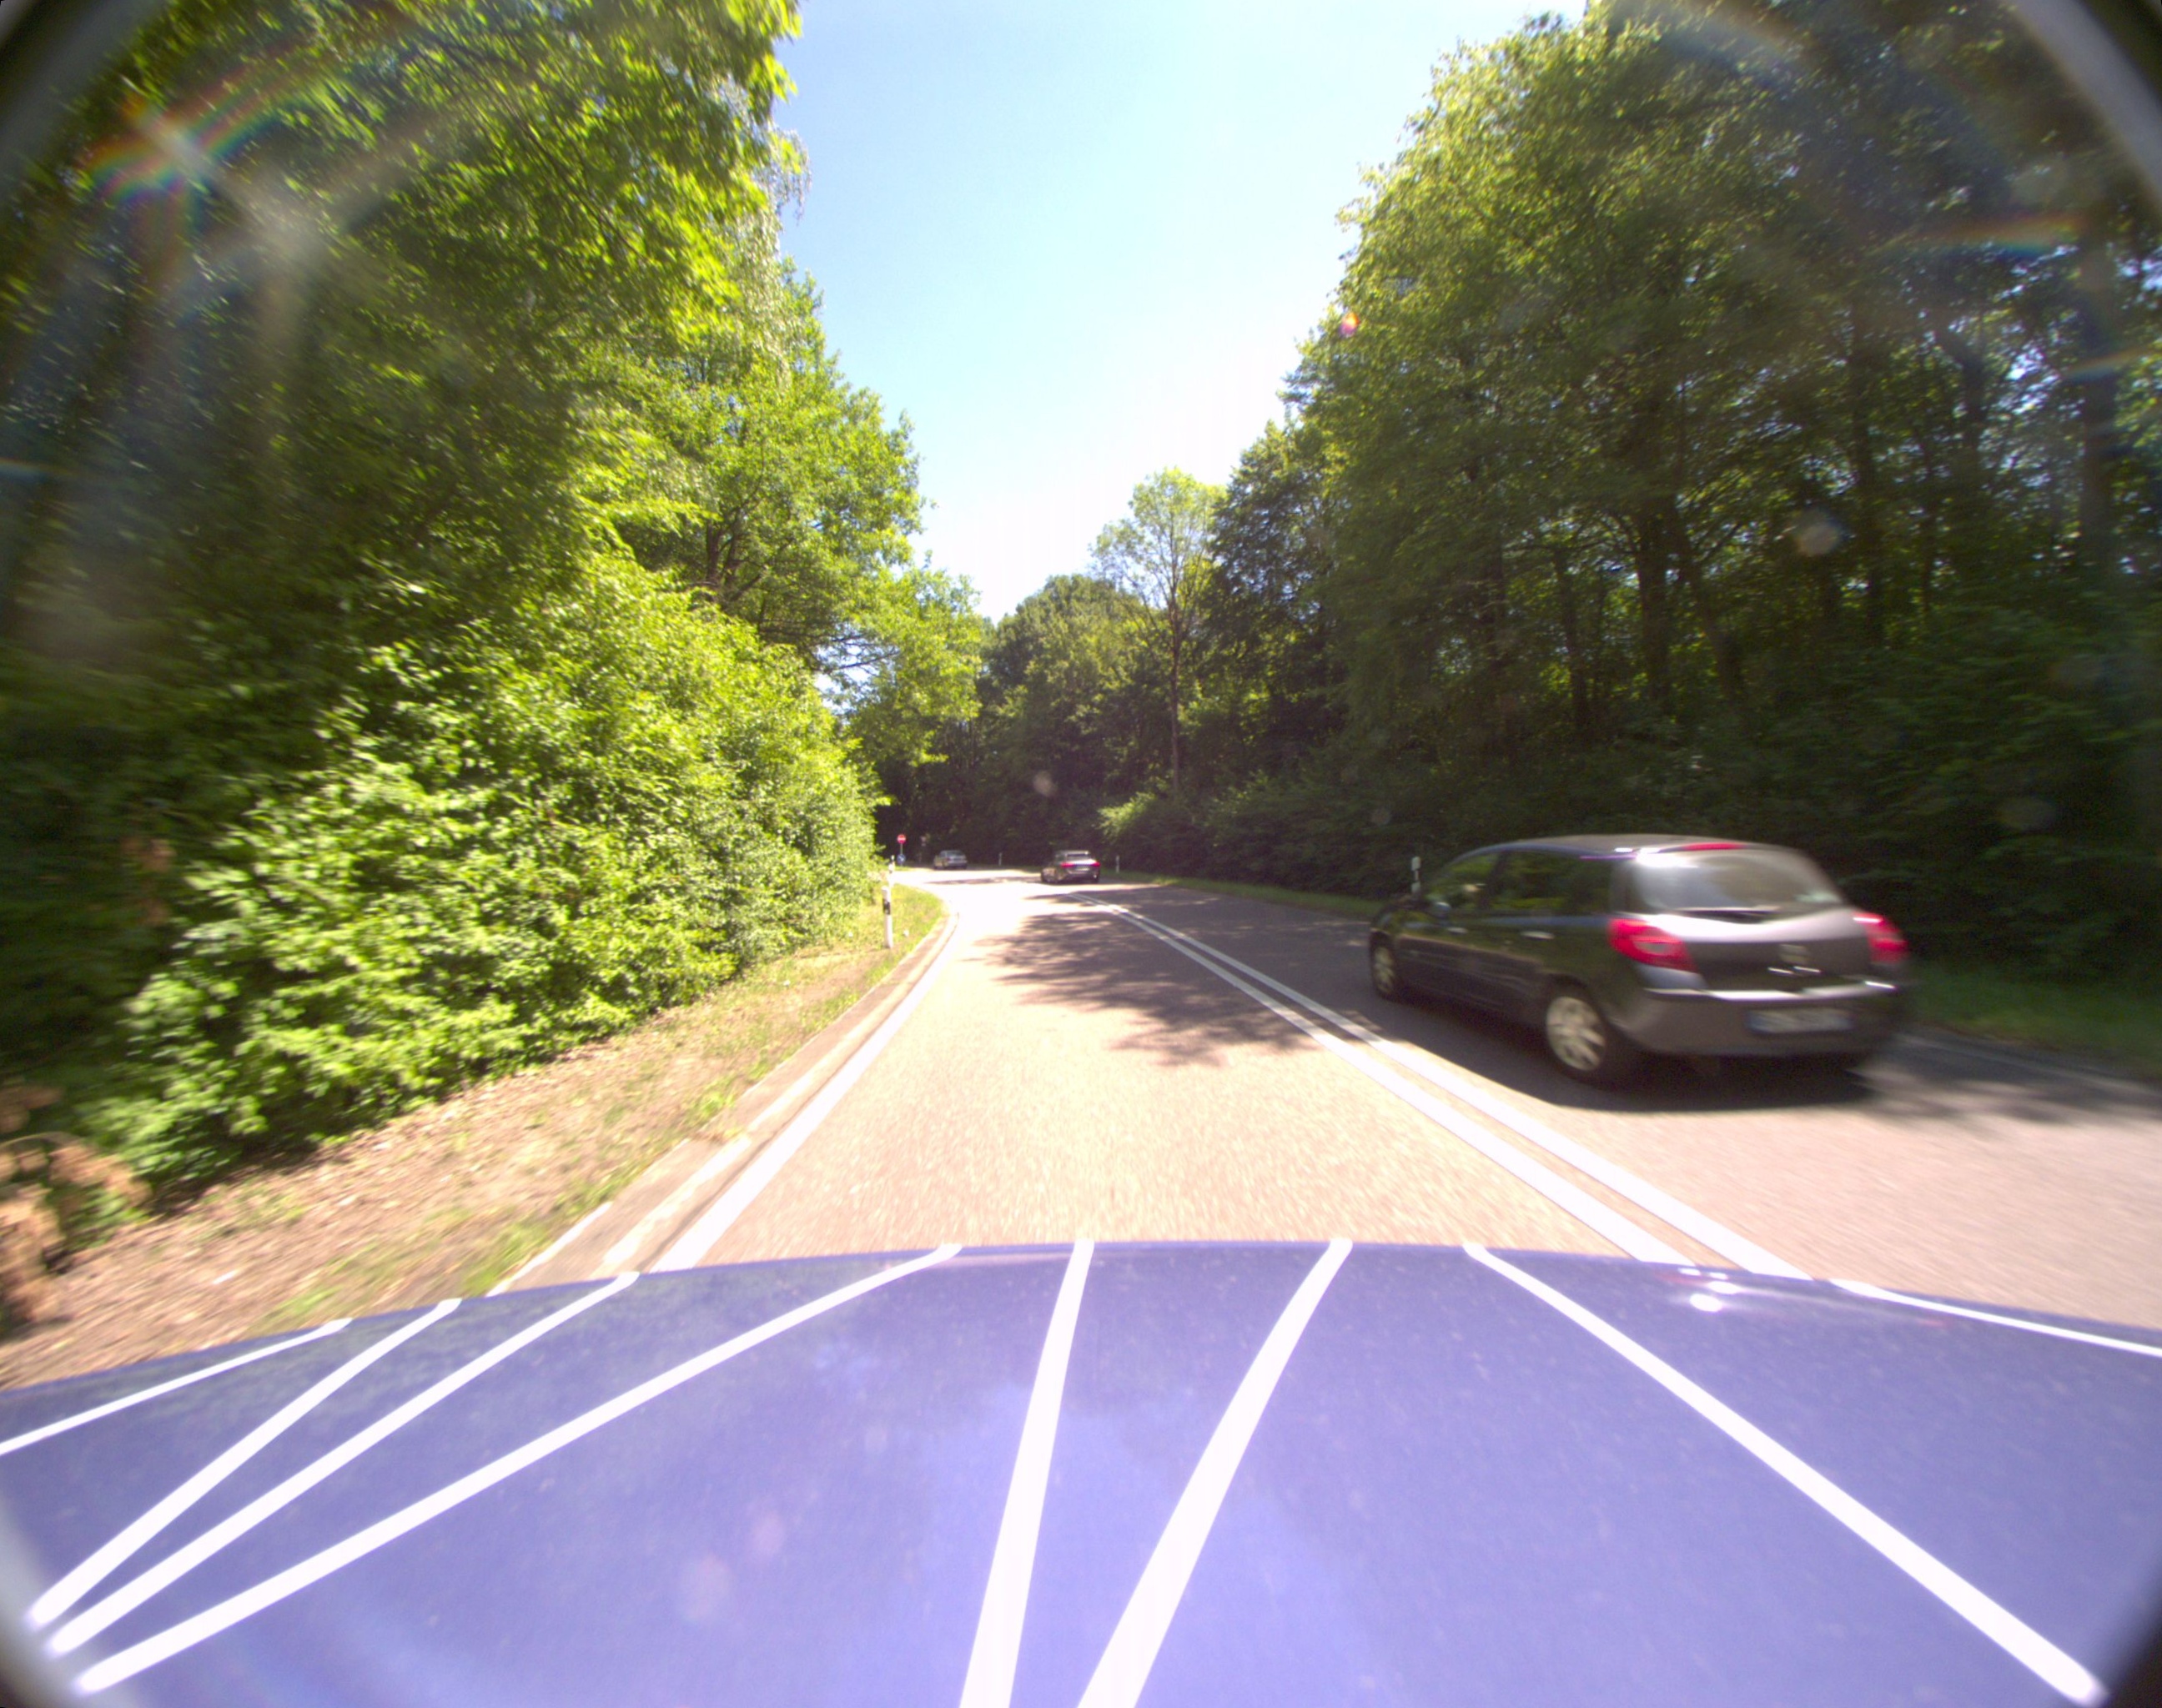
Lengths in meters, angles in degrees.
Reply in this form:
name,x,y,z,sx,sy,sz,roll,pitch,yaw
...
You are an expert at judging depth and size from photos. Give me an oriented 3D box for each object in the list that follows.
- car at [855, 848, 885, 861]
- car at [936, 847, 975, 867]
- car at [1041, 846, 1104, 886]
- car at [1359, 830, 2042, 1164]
name,x,y,z,sx,sy,sz,roll,pitch,yaw
car,-22.555,0.035,81.267,1.798,1.398,4.349,-1,1,-34
car,-9.860,0.203,59.368,1.854,1.477,4.754,-1,1,-24
car,-0.444,0.443,32.993,1.763,1.565,4.361,-2,1,-14
car,3.632,0.636,5.519,1.682,1.565,3.893,0,1,-2
